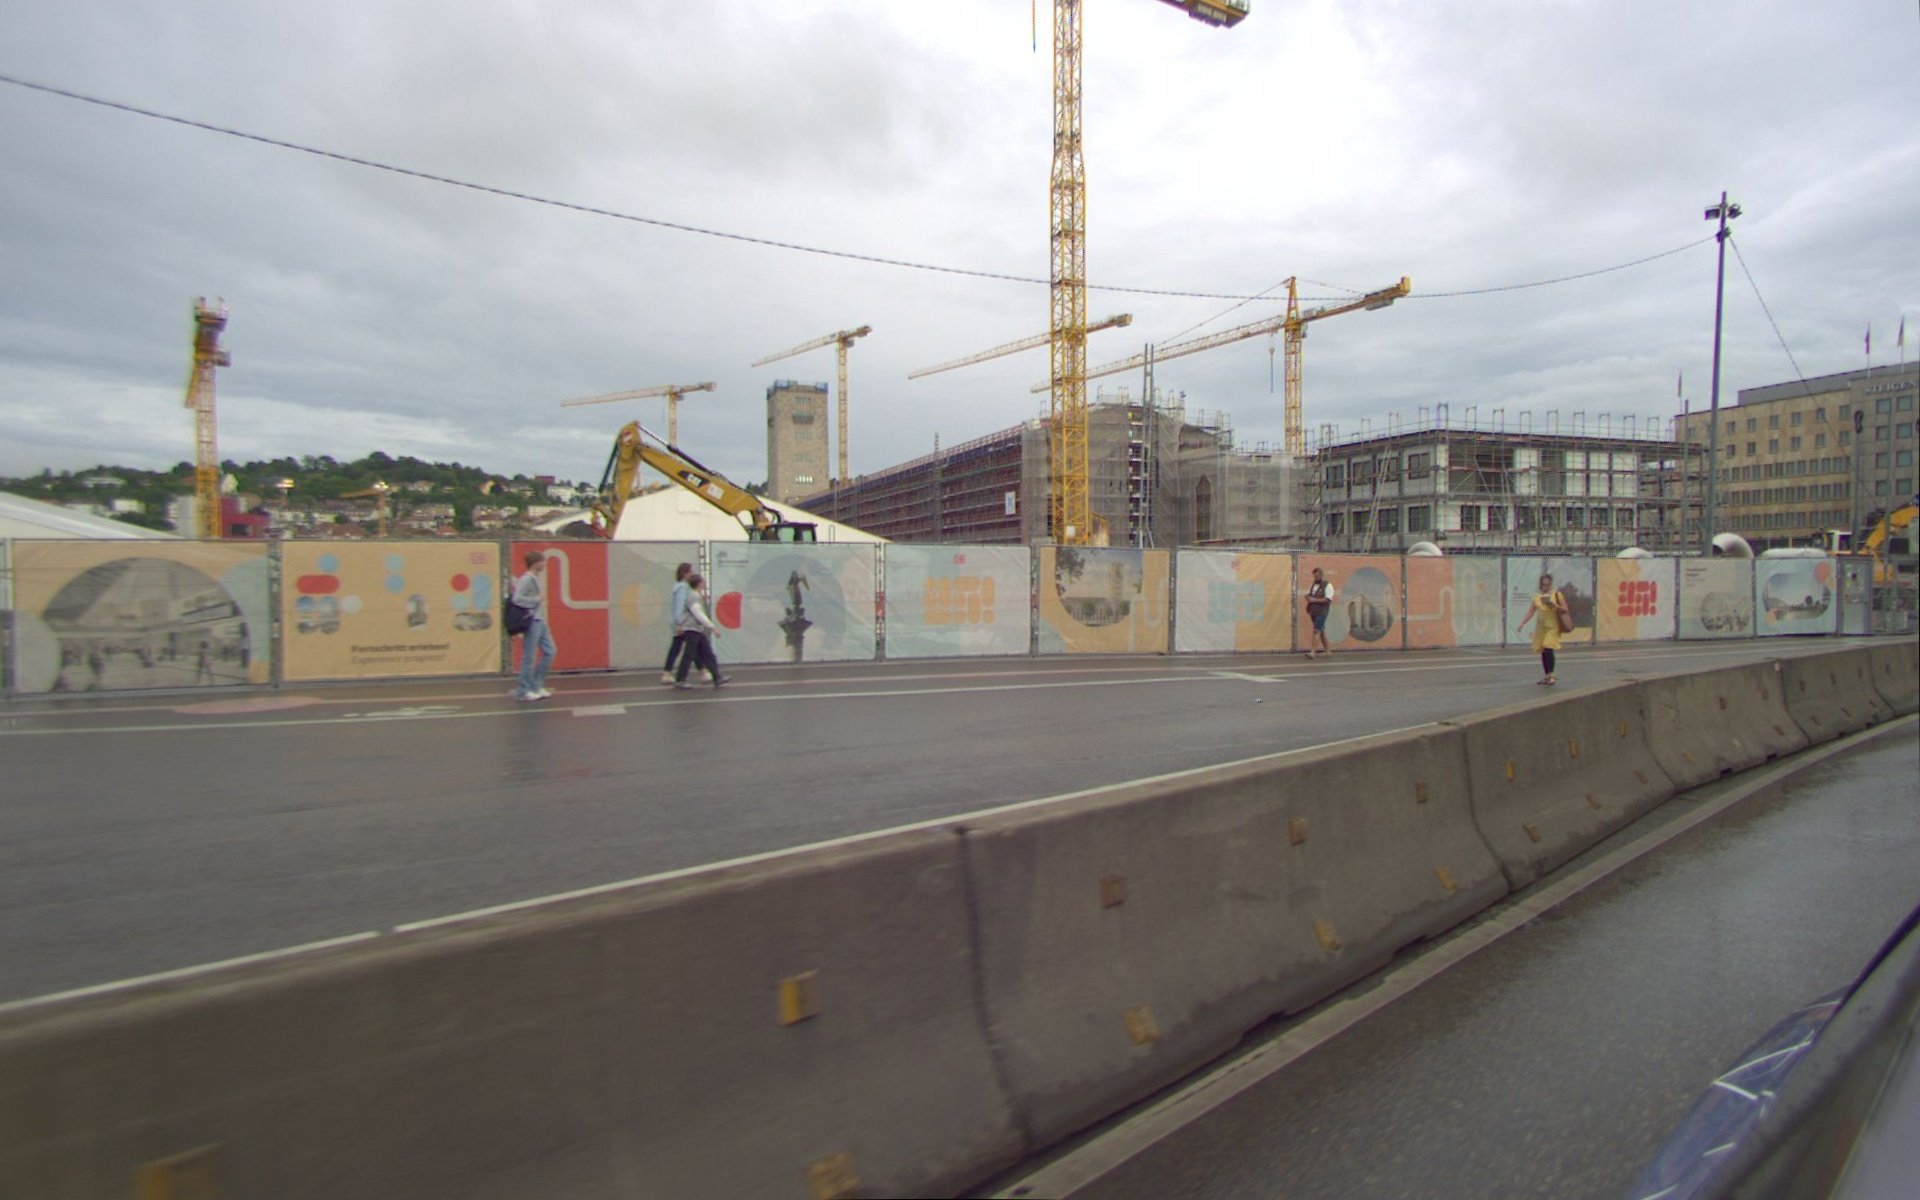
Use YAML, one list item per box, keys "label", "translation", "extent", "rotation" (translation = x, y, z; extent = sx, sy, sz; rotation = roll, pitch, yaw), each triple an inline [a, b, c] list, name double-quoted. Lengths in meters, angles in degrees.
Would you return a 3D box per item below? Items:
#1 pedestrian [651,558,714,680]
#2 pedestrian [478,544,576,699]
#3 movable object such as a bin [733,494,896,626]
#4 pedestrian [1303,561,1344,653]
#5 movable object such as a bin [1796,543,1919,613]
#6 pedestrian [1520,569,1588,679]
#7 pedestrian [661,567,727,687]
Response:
- label: "pedestrian"
  translation: [-3.912, 0.251, 14.300]
  extent: [0.750, 1.675, 0.650]
  rotation: [0, 1, -5]
- label: "pedestrian"
  translation: [-5.367, 0.248, 12.600]
  extent: [0.913, 1.872, 0.821]
  rotation: [0, 1, -5]
- label: "movable object such as a bin"
  translation: [-4.070, -1.101, 28.559]
  extent: [4.150, 3.451, 1.944]
  rotation: [-1, 1, -35]
- label: "pedestrian"
  translation: [7.090, 0.131, 19.754]
  extent: [0.485, 1.770, 0.569]
  rotation: [0, 1, -23]
- label: "movable object such as a bin"
  translation: [34.596, -0.841, 38.256]
  extent: [4.067, 2.567, 1.992]
  rotation: [0, 1, 14]
- label: "pedestrian"
  translation: [9.205, 0.349, 15.683]
  extent: [0.892, 1.653, 0.648]
  rotation: [-1, 1, -41]
- label: "pedestrian"
  translation: [-3.569, 0.344, 13.626]
  extent: [0.750, 1.572, 0.650]
  rotation: [0, 1, -5]
